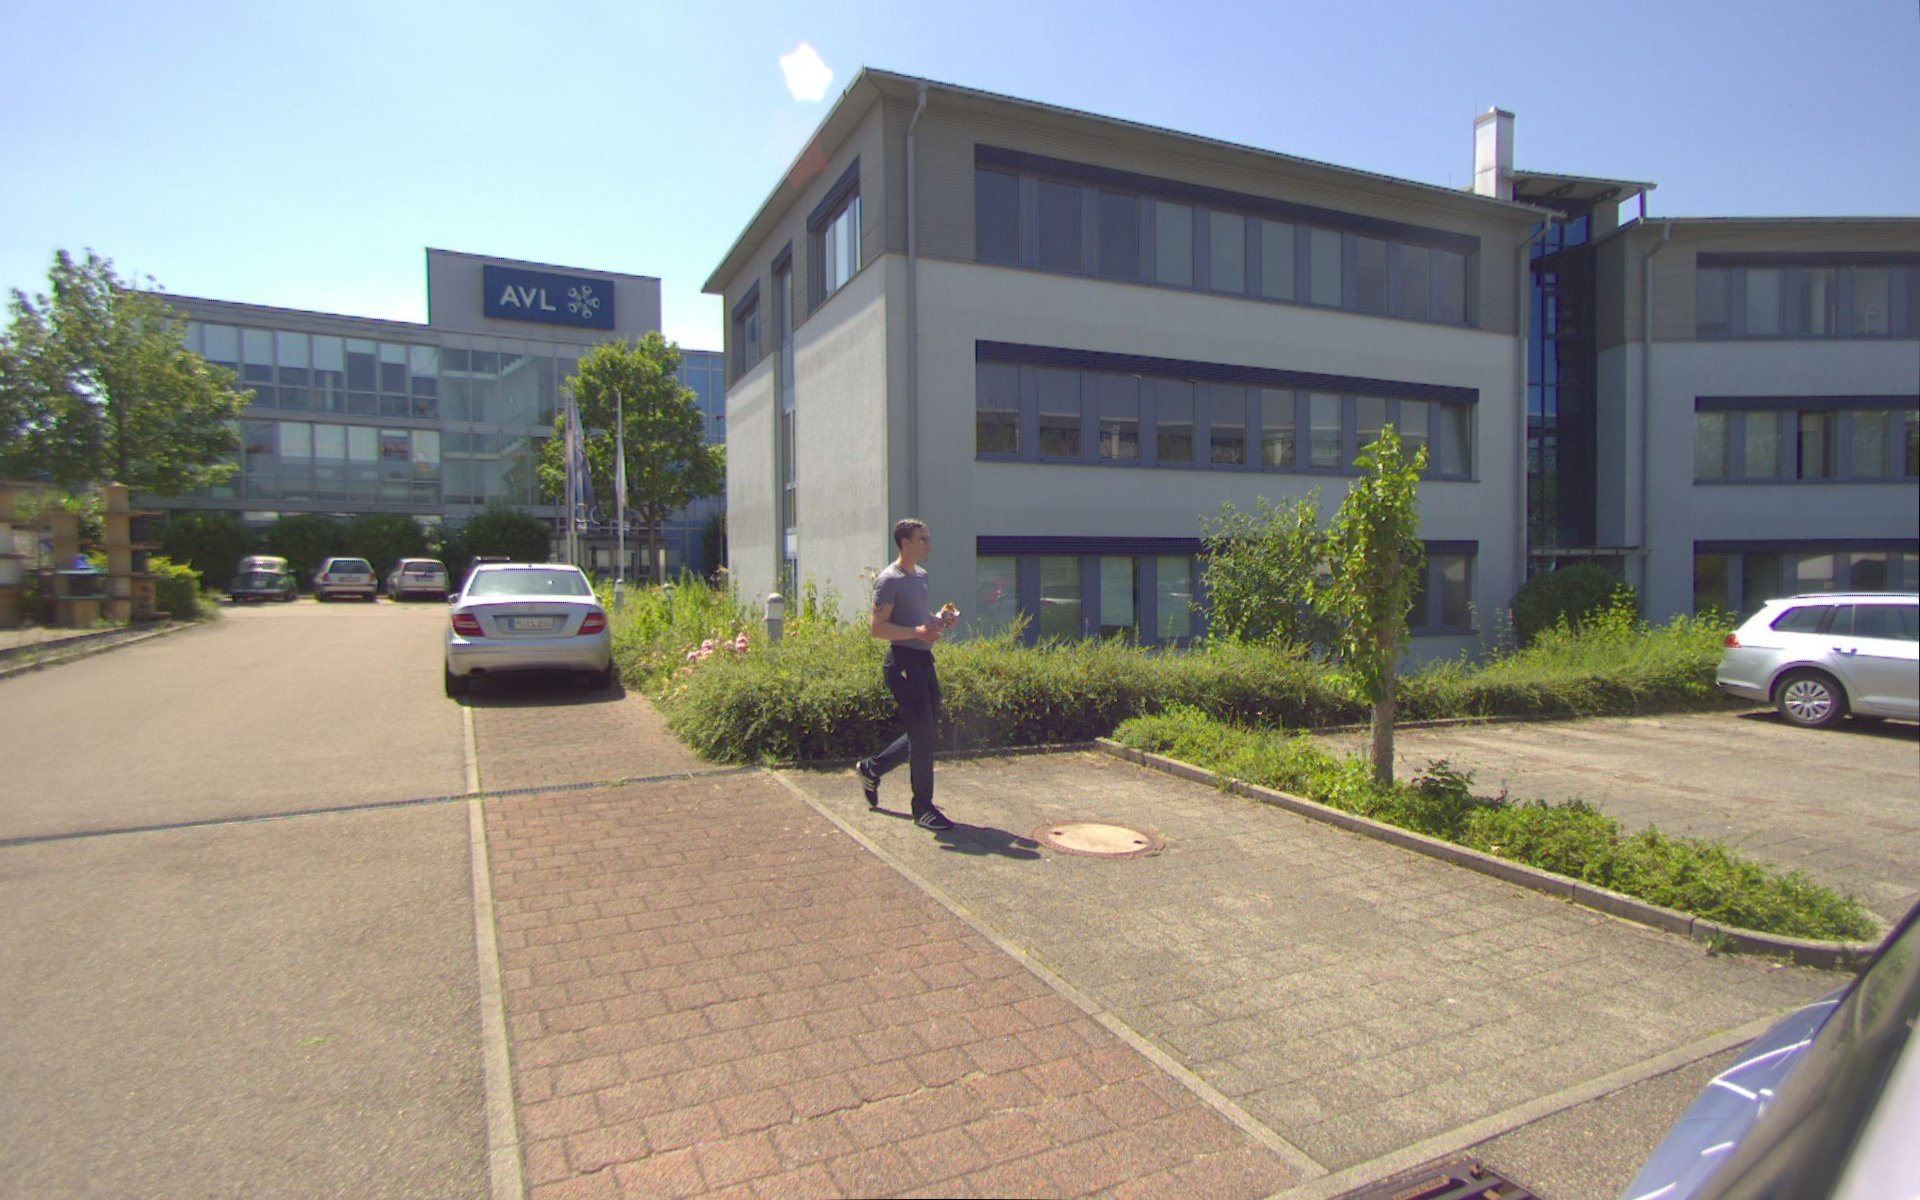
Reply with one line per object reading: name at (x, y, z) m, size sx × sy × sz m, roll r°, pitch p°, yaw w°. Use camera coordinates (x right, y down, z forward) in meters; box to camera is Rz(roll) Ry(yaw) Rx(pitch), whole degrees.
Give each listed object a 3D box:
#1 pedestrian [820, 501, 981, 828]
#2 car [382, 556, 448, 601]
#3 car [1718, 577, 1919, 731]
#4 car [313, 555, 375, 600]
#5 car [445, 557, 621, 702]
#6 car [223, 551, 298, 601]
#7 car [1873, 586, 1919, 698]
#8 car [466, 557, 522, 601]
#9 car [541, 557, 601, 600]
pedestrian at (-0.337, 0.345, 5.928) m, size 0.778 × 1.779 × 0.615 m, roll 0°, pitch 1°, yaw 18°
car at (-19.597, -0.771, 36.308) m, size 1.716 × 1.538 × 4.001 m, roll 0°, pitch 1°, yaw -34°
car at (10.631, 0.566, 10.133) m, size 1.792 × 1.515 × 4.528 m, roll 0°, pitch 2°, yaw -28°
car at (-21.189, -0.770, 34.732) m, size 1.642 × 1.458 × 4.001 m, roll 0°, pitch 1°, yaw -34°
car at (-5.224, 0.256, 12.194) m, size 1.694 × 1.454 × 3.723 m, roll 0°, pitch 1°, yaw -26°
car at (-23.130, -0.784, 33.568) m, size 1.715 × 1.538 × 4.004 m, roll 0°, pitch 1°, yaw -30°
car at (13.626, 0.600, 11.989) m, size 1.618 × 1.408 × 3.834 m, roll 0°, pitch 3°, yaw -28°
car at (-17.148, -0.773, 37.157) m, size 1.714 × 1.538 × 4.006 m, roll 0°, pitch 1°, yaw -27°
car at (-14.716, -0.805, 38.188) m, size 1.714 × 1.538 × 4.006 m, roll 0°, pitch 1°, yaw -27°
